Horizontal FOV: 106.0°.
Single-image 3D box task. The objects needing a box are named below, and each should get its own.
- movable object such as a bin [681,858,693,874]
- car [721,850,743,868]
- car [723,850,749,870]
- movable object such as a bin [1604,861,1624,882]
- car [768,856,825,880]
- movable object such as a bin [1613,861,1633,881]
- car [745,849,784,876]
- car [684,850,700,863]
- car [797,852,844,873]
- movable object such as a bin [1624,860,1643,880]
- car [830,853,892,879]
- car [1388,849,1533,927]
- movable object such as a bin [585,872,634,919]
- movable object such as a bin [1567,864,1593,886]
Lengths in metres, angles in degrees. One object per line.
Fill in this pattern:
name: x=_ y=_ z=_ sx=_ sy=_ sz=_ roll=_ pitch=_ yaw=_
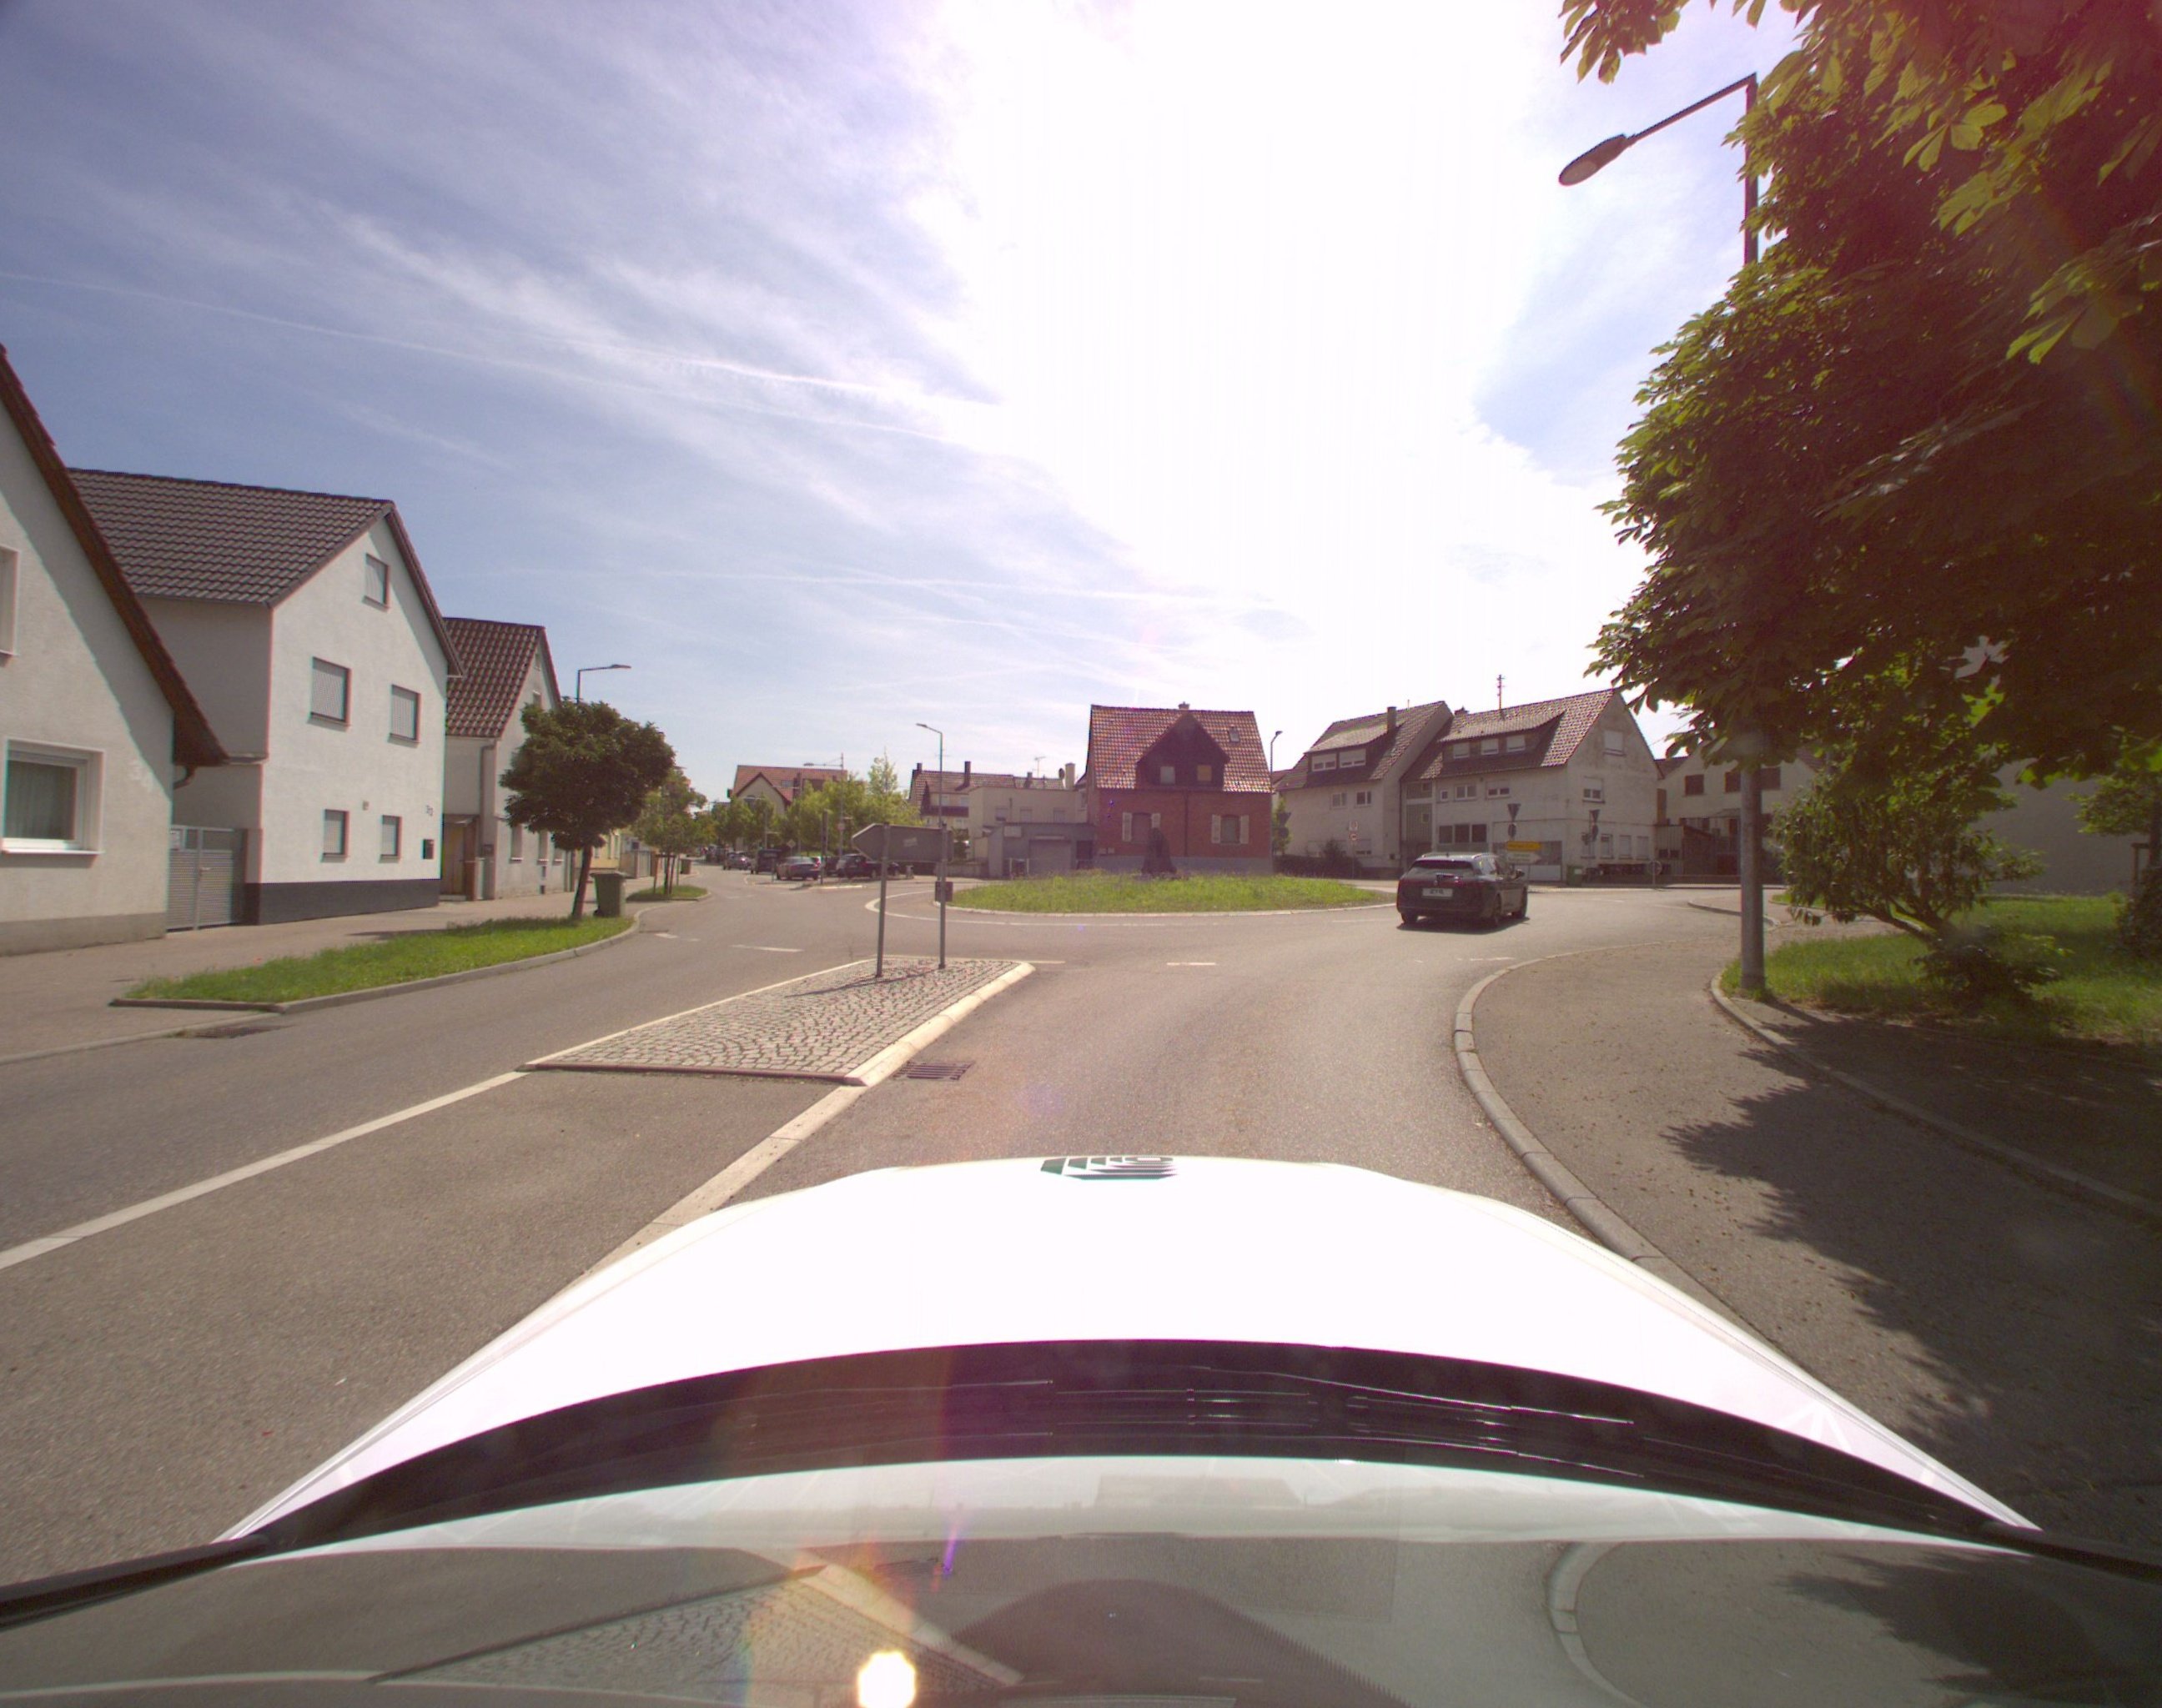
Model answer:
movable object such as a bin: x=-26.282 y=0.826 z=54.326 sx=0.702 sy=1.052 sz=0.668 roll=0 pitch=0 yaw=-33
car: x=-42.154 y=0.597 z=98.388 sx=2.123 sy=2.014 sz=3.964 roll=1 pitch=-1 yaw=-28
car: x=-34.918 y=0.599 z=82.327 sx=2.123 sy=2.014 sz=3.964 roll=1 pitch=-1 yaw=-28
movable object such as a bin: x=28.800 y=0.937 z=44.003 sx=0.647 sy=1.086 sz=0.678 roll=0 pitch=0 yaw=-31
car: x=-17.111 y=0.832 z=48.833 sx=1.887 sy=1.391 sz=4.166 roll=1 pitch=-1 yaw=-40
movable object such as a bin: x=29.540 y=0.911 z=44.422 sx=0.700 sy=1.086 sz=0.678 roll=0 pitch=0 yaw=-31
car: x=-24.589 y=0.622 z=63.225 sx=2.125 sy=2.014 sz=3.960 roll=1 pitch=-1 yaw=-32
car: x=-59.463 y=0.367 z=124.515 sx=2.123 sy=2.014 sz=3.964 roll=1 pitch=-1 yaw=-28
car: x=-21.741 y=0.705 z=68.146 sx=1.853 sy=1.669 sz=4.015 roll=1 pitch=-1 yaw=14
movable object such as a bin: x=30.509 y=0.859 z=44.999 sx=0.627 sy=1.082 sz=0.678 roll=0 pitch=0 yaw=-31
car: x=-14.598 y=0.794 z=54.244 sx=1.795 sy=1.618 sz=4.023 roll=0 pitch=-1 yaw=26
car: x=8.146 y=0.613 z=17.228 sx=1.823 sy=1.420 sz=4.712 roll=0 pitch=0 yaw=37
movable object such as a bin: x=-10.873 y=0.942 z=18.802 sx=0.904 sy=1.048 sz=0.575 roll=0 pitch=0 yaw=-23
movable object such as a bin: x=24.346 y=1.003 z=39.777 sx=0.820 sy=1.045 sz=0.812 roll=0 pitch=0 yaw=6
